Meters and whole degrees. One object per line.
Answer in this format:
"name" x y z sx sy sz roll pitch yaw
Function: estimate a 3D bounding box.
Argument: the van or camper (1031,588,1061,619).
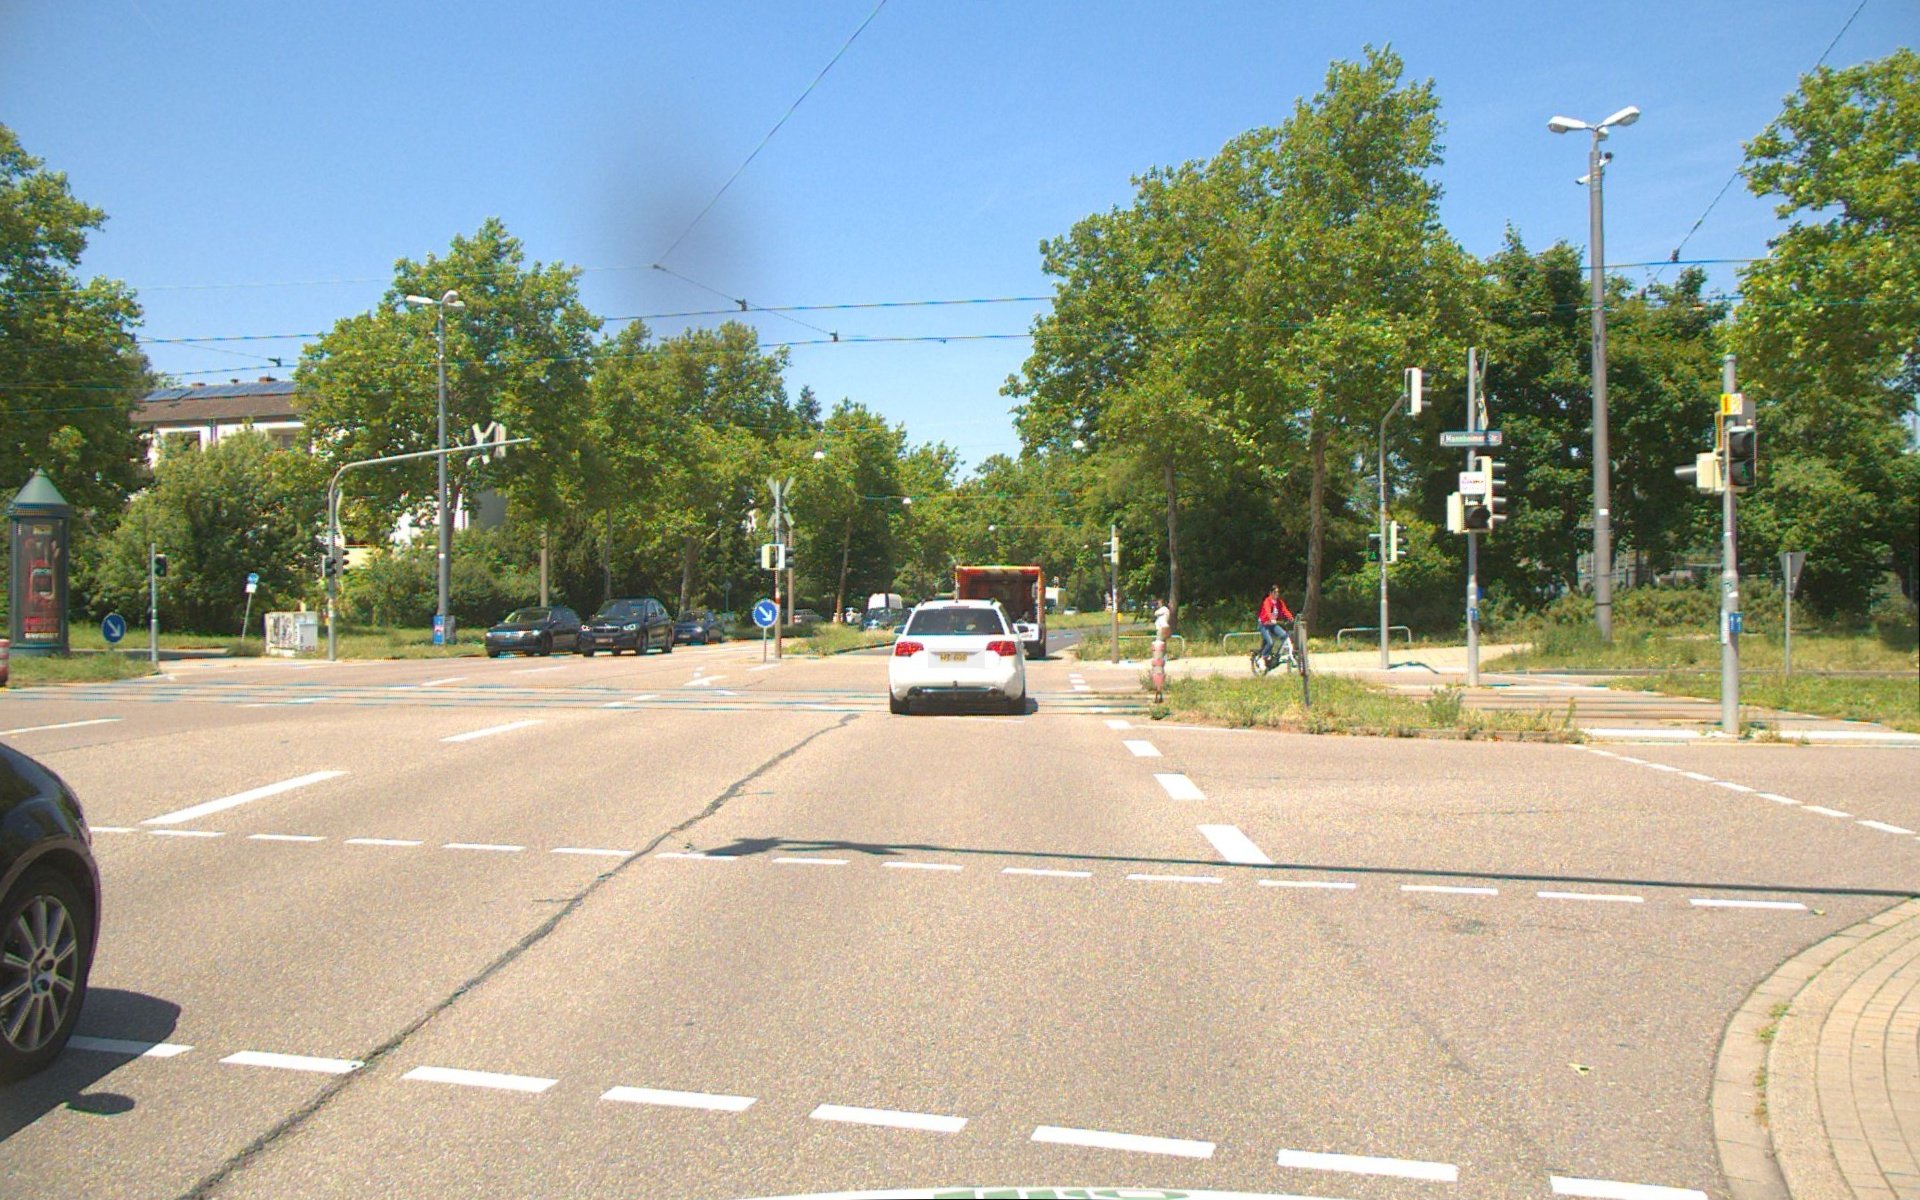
"van or camper" 9.546 0.412 182.847 2.604 3.389 5.505 0 0 10

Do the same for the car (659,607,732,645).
"car" -10.633 1.061 66.819 1.683 1.481 3.872 0 -1 11

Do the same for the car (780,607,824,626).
"car" -11.932 1.232 125.367 1.842 1.400 4.001 0 0 19

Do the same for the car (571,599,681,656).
"car" -9.612 0.763 47.906 1.868 1.566 4.301 -1 0 6

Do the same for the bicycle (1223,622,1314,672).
"bicycle" 5.835 0.884 31.399 0.582 0.911 1.788 0 0 -36

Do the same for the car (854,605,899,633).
"car" -4.359 0.992 86.862 1.699 1.419 4.181 0 0 6

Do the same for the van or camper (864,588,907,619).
"van or camper" -6.441 0.262 143.899 2.136 2.633 5.312 -1 0 16

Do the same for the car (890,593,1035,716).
"car" 0.008 0.654 21.717 1.727 1.471 3.615 0 0 -1

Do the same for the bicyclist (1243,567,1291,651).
"bicyclist" 5.825 0.171 31.402 0.573 1.583 0.665 0 0 -37

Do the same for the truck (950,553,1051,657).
"truck" 1.237 0.073 46.105 2.458 2.604 7.607 1 1 4

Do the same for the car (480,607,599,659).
"car" -12.762 0.979 50.513 1.908 1.465 4.750 0 0 7

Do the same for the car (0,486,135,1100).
"car" -3.683 0.561 3.251 1.816 1.786 4.648 0 0 -1

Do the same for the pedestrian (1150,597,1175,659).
"pedestrian" 4.967 0.687 40.544 0.541 1.510 0.630 0 0 11

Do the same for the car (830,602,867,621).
"car" -9.114 0.934 135.113 1.841 1.500 4.003 0 0 15
